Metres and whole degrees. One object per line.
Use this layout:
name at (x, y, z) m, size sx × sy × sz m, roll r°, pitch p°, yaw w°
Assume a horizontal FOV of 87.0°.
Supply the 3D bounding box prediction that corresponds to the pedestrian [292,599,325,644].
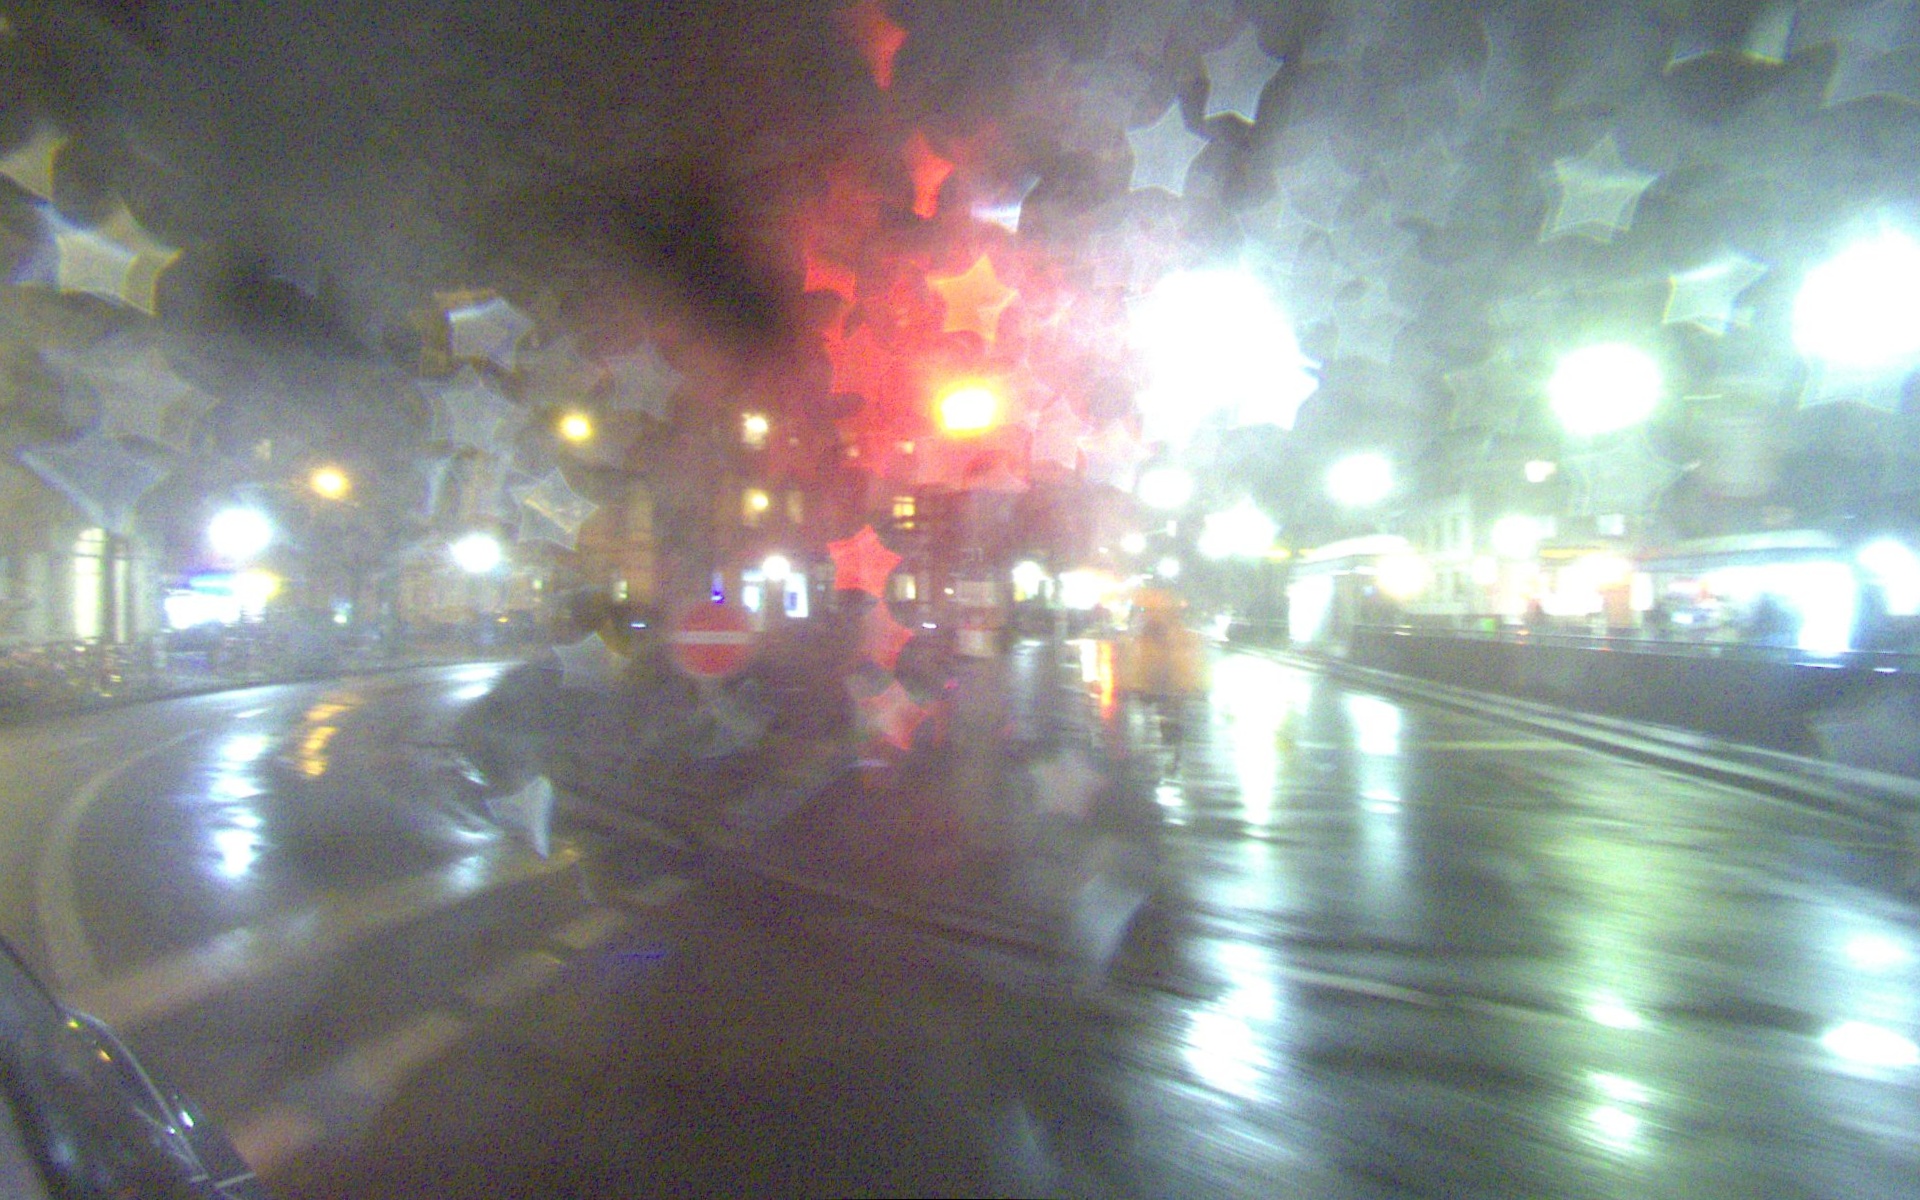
pedestrian at (-26.813, 0.896, 41.648) m, size 1.037 × 1.777 × 0.683 m, roll -3°, pitch -3°, yaw 27°

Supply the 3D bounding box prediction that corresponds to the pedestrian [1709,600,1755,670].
pedestrian at (17.459, 0.795, 22.902) m, size 0.472 × 1.539 × 0.588 m, roll -3°, pitch -1°, yaw -11°

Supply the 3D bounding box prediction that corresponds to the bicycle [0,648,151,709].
bicycle at (-15.348, 1.350, 17.586) m, size 1.902 × 0.995 × 0.731 m, roll 0°, pitch -1°, yaw -7°

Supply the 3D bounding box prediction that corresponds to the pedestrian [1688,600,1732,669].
pedestrian at (17.409, 0.790, 23.494) m, size 0.503 × 1.559 × 0.576 m, roll -3°, pitch -1°, yaw -11°

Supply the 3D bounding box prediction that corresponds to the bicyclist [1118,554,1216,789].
bicyclist at (1.481, 0.482, 7.168) m, size 0.567 × 1.559 × 0.812 m, roll -2°, pitch -1°, yaw 15°

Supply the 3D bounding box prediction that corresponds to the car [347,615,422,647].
car at (-32.440, 1.729, 56.990) m, size 4.272 × 1.716 × 1.861 m, roll -1°, pitch 0°, yaw 32°

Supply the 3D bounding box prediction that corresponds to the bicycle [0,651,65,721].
bicycle at (-14.864, 1.286, 15.312) m, size 1.944 × 1.014 × 0.643 m, roll 0°, pitch -1°, yaw -7°

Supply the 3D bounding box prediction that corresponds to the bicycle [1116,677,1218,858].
bicycle at (1.500, 1.110, 7.160) m, size 0.567 × 0.976 × 1.772 m, roll -2°, pitch -1°, yaw 15°

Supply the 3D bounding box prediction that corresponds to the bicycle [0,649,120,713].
bicycle at (-15.198, 1.329, 16.736) m, size 1.944 × 1.014 × 0.689 m, roll 0°, pitch -1°, yaw -7°

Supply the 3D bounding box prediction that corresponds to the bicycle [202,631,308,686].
bicycle at (-16.023, 1.323, 23.025) m, size 1.845 × 1.226 × 0.731 m, roll 0°, pitch -1°, yaw -7°

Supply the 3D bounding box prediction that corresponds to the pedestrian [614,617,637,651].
pedestrian at (-16.506, 1.667, 50.006) m, size 0.840 × 1.650 × 0.627 m, roll -3°, pitch -1°, yaw 32°

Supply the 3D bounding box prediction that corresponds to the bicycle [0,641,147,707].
bicycle at (-15.809, 1.302, 18.069) m, size 1.902 × 1.123 × 0.731 m, roll 0°, pitch -1°, yaw -7°

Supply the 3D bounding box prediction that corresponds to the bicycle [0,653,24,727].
bicycle at (-14.349, 1.258, 14.071) m, size 1.944 × 1.014 × 0.643 m, roll 0°, pitch -1°, yaw -7°

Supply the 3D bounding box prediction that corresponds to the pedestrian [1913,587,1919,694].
pedestrian at (16.124, 0.665, 16.455) m, size 0.715 × 1.787 × 0.664 m, roll -3°, pitch -1°, yaw 32°

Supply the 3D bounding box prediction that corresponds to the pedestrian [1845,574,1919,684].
pedestrian at (17.325, 0.535, 18.993) m, size 0.602 × 2.002 × 0.858 m, roll -3°, pitch -1°, yaw 4°

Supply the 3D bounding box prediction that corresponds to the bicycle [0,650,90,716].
bicycle at (-15.092, 1.305, 16.027) m, size 1.944 × 1.014 × 0.643 m, roll 0°, pitch -1°, yaw -7°

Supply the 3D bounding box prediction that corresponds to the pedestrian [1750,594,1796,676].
pedestrian at (16.967, 0.718, 21.118) m, size 0.575 × 1.664 × 0.561 m, roll -2°, pitch -1°, yaw -36°

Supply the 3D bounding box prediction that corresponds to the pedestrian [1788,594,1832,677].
pedestrian at (17.193, 0.709, 20.473) m, size 0.393 × 1.642 × 0.534 m, roll -2°, pitch -1°, yaw -36°

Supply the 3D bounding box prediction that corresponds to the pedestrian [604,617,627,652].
pedestrian at (-16.831, 1.670, 49.434) m, size 0.871 × 1.650 × 0.627 m, roll -3°, pitch -1°, yaw 32°

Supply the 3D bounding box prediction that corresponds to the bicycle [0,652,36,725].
bicycle at (-14.726, 1.271, 14.673) m, size 1.944 × 1.014 × 0.643 m, roll 0°, pitch -1°, yaw -7°

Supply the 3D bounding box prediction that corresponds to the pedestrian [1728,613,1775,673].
pedestrian at (17.156, 0.931, 21.937) m, size 0.575 × 1.263 × 0.626 m, roll -2°, pitch -1°, yaw -36°

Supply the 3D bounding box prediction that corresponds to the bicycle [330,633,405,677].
bicycle at (-15.702, 1.458, 26.849) m, size 1.599 × 1.090 × 0.566 m, roll -1°, pitch 1°, yaw -8°

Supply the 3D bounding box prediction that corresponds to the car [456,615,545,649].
car at (-23.430, 1.626, 51.532) m, size 4.478 × 1.605 × 1.870 m, roll -1°, pitch 0°, yaw 30°

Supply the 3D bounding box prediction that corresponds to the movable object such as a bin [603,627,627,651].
movable object such as a bin at (-17.195, 1.958, 50.440) m, size 0.920 × 1.124 × 0.627 m, roll -3°, pitch -1°, yaw 32°
